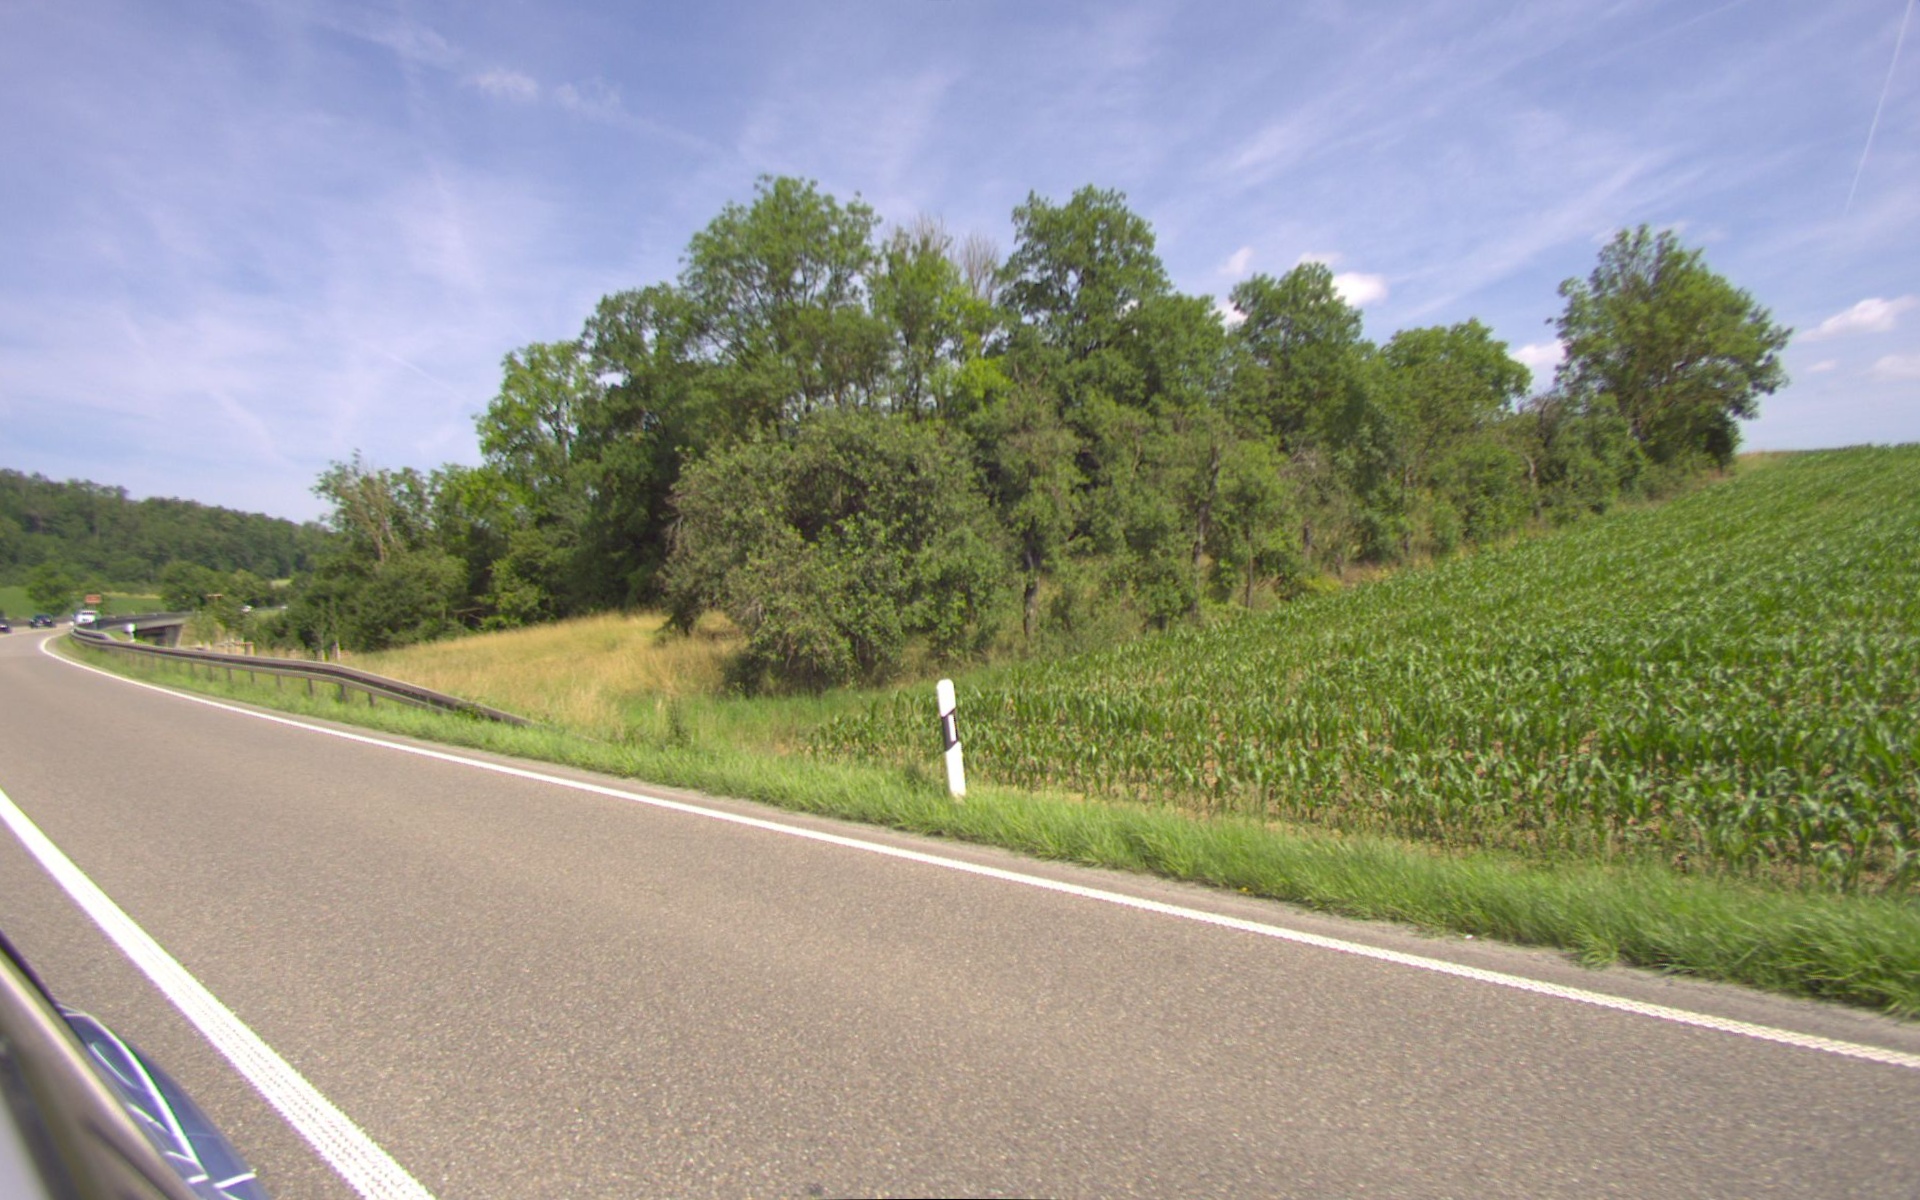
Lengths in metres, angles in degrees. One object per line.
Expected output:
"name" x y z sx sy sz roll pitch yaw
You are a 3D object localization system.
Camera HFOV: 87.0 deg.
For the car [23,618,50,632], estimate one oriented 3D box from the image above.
"car" -107.915 2.897 118.293 1.715 1.465 4.047 0 0 -33
